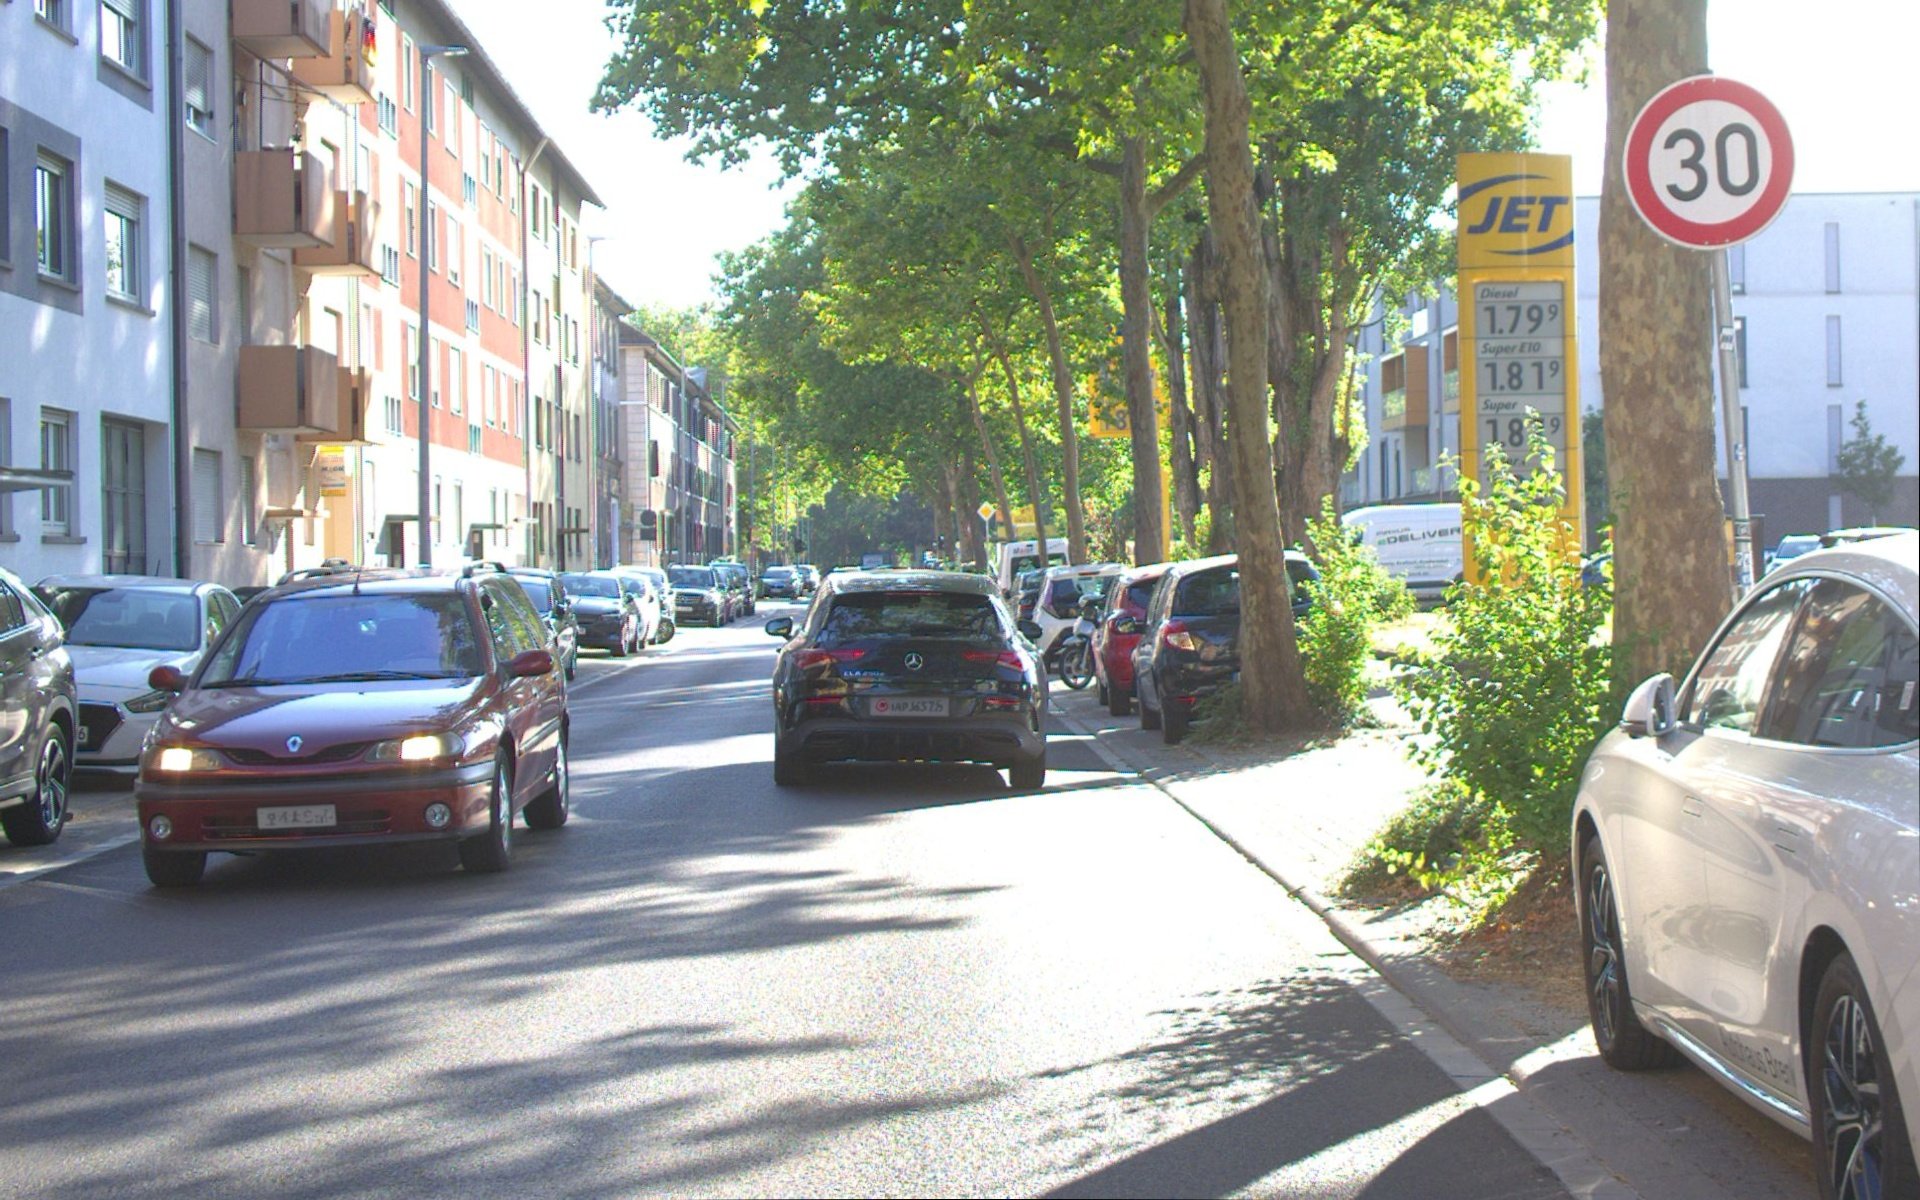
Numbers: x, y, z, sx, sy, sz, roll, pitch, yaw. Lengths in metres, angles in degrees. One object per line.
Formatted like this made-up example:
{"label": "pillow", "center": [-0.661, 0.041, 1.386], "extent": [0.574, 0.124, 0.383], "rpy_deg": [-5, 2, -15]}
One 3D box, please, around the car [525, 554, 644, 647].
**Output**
{"label": "car", "center": [-6.813, -0.012, 62.642], "extent": [1.712, 1.557, 3.801], "rpy_deg": [3, 1, -1]}

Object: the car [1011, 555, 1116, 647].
{"label": "car", "center": [1.804, 0.012, 60.842], "extent": [1.633, 1.552, 3.601], "rpy_deg": [1, 0, -1]}

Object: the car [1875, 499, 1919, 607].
{"label": "car", "center": [16.761, -0.794, 54.967], "extent": [3.825, 1.706, 1.841], "rpy_deg": [-2, 1, -27]}

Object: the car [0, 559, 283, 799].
{"label": "car", "center": [-5.901, 0.491, 24.256], "extent": [1.547, 1.518, 4.005], "rpy_deg": [1, 1, -1]}

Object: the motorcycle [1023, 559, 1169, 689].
{"label": "motorcycle", "center": [1.647, 0.292, 41.553], "extent": [1.641, 1.552, 0.612], "rpy_deg": [1, 0, -22]}

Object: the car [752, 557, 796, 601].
{"label": "car", "center": [-8.534, -0.947, 158.200], "extent": [1.907, 1.941, 4.000], "rpy_deg": [0, -1, -1]}

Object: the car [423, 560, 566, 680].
{"label": "car", "center": [-6.283, 0.244, 46.676], "extent": [1.712, 1.459, 3.798], "rpy_deg": [3, 1, -6]}

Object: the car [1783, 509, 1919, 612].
{"label": "car", "center": [16.483, -0.717, 59.695], "extent": [3.824, 1.706, 1.841], "rpy_deg": [-2, 1, -18]}

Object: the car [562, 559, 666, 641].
{"label": "car", "center": [-7.092, -0.019, 70.742], "extent": [1.712, 1.557, 3.801], "rpy_deg": [3, 1, -1]}

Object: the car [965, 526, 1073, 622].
{"label": "car", "center": [1.245, -0.531, 74.065], "extent": [1.993, 2.007, 4.000], "rpy_deg": [0, -1, -4]}

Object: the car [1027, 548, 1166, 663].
{"label": "car", "center": [1.897, 0.064, 48.783], "extent": [1.722, 1.552, 3.601], "rpy_deg": [1, 0, -1]}

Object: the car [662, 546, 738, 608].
{"label": "car", "center": [-6.937, -0.622, 92.151], "extent": [1.712, 1.557, 3.801], "rpy_deg": [3, 1, -1]}

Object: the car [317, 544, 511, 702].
{"label": "car", "center": [-5.939, 0.207, 37.765], "extent": [1.596, 1.624, 3.838], "rpy_deg": [1, 1, -1]}

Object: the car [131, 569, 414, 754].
{"label": "car", "center": [-5.809, 0.470, 29.470], "extent": [1.596, 1.429, 4.217], "rpy_deg": [1, 1, 0]}

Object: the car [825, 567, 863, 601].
{"label": "car", "center": [-5.902, -0.812, 175.550], "extent": [1.901, 1.655, 4.000], "rpy_deg": [0, -1, -1]}

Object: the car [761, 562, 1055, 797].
{"label": "car", "center": [-0.274, 0.480, 23.663], "extent": [1.744, 1.438, 3.968], "rpy_deg": [1, 1, 3]}

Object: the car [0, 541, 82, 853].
{"label": "car", "center": [-5.827, 0.509, 17.665], "extent": [1.596, 1.635, 4.412], "rpy_deg": [1, 1, -1]}

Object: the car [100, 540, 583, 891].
{"label": "car", "center": [-3.021, 0.485, 17.650], "extent": [1.663, 1.518, 4.412], "rpy_deg": [-2, 1, 0]}

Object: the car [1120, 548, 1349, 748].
{"label": "car", "center": [2.294, 0.379, 29.461], "extent": [1.559, 1.590, 3.601], "rpy_deg": [1, 0, -1]}

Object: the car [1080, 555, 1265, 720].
{"label": "car", "center": [2.134, 0.358, 35.293], "extent": [1.559, 1.590, 3.601], "rpy_deg": [1, 0, -1]}

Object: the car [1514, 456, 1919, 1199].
{"label": "car", "center": [2.608, 0.455, 8.107], "extent": [1.810, 1.533, 4.583], "rpy_deg": [-3, 0, 1]}
